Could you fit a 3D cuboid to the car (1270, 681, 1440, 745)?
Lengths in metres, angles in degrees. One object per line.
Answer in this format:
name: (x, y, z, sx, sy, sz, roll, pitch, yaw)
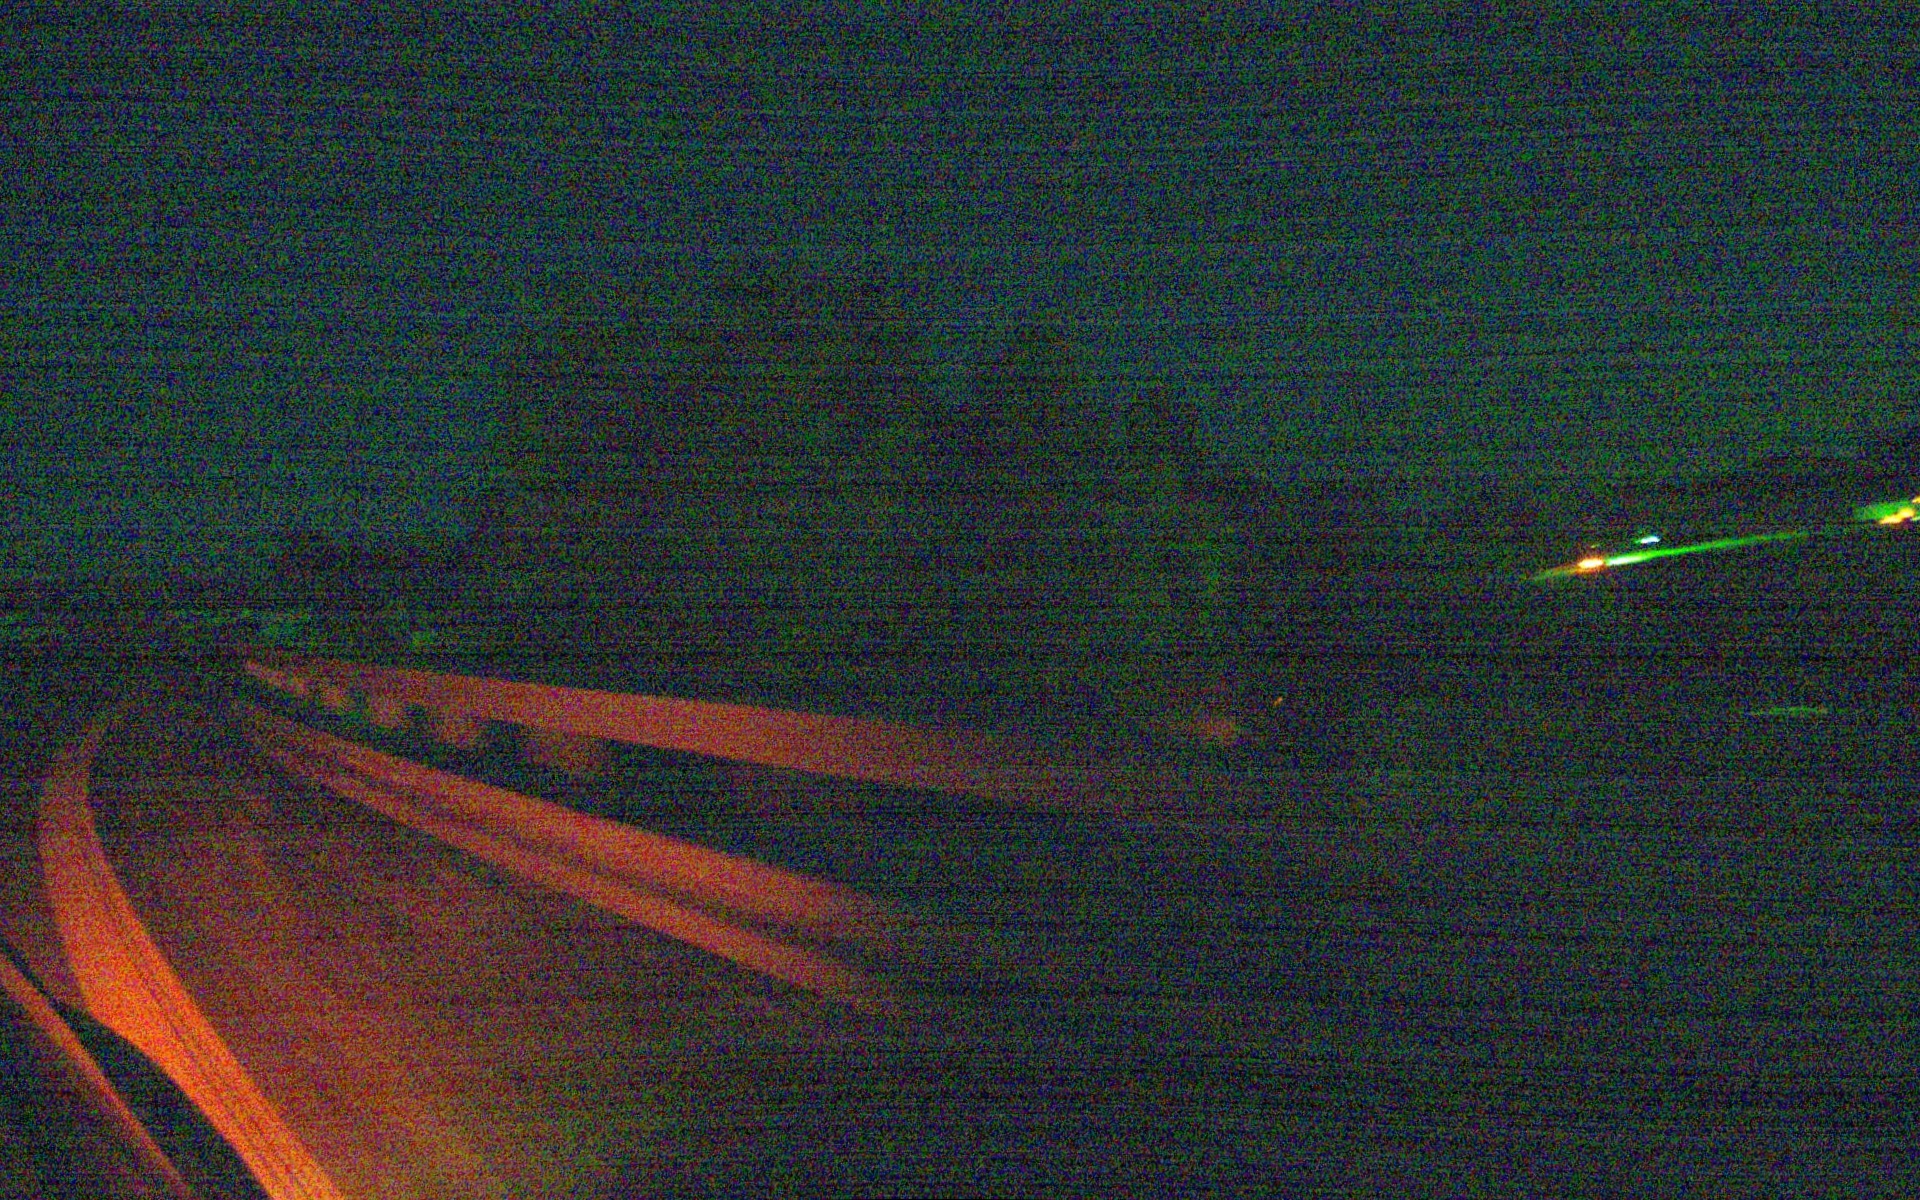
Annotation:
car: (12.213, 3.505, 31.316, 4.621, 1.620, 1.929, -5, 0, 28)
